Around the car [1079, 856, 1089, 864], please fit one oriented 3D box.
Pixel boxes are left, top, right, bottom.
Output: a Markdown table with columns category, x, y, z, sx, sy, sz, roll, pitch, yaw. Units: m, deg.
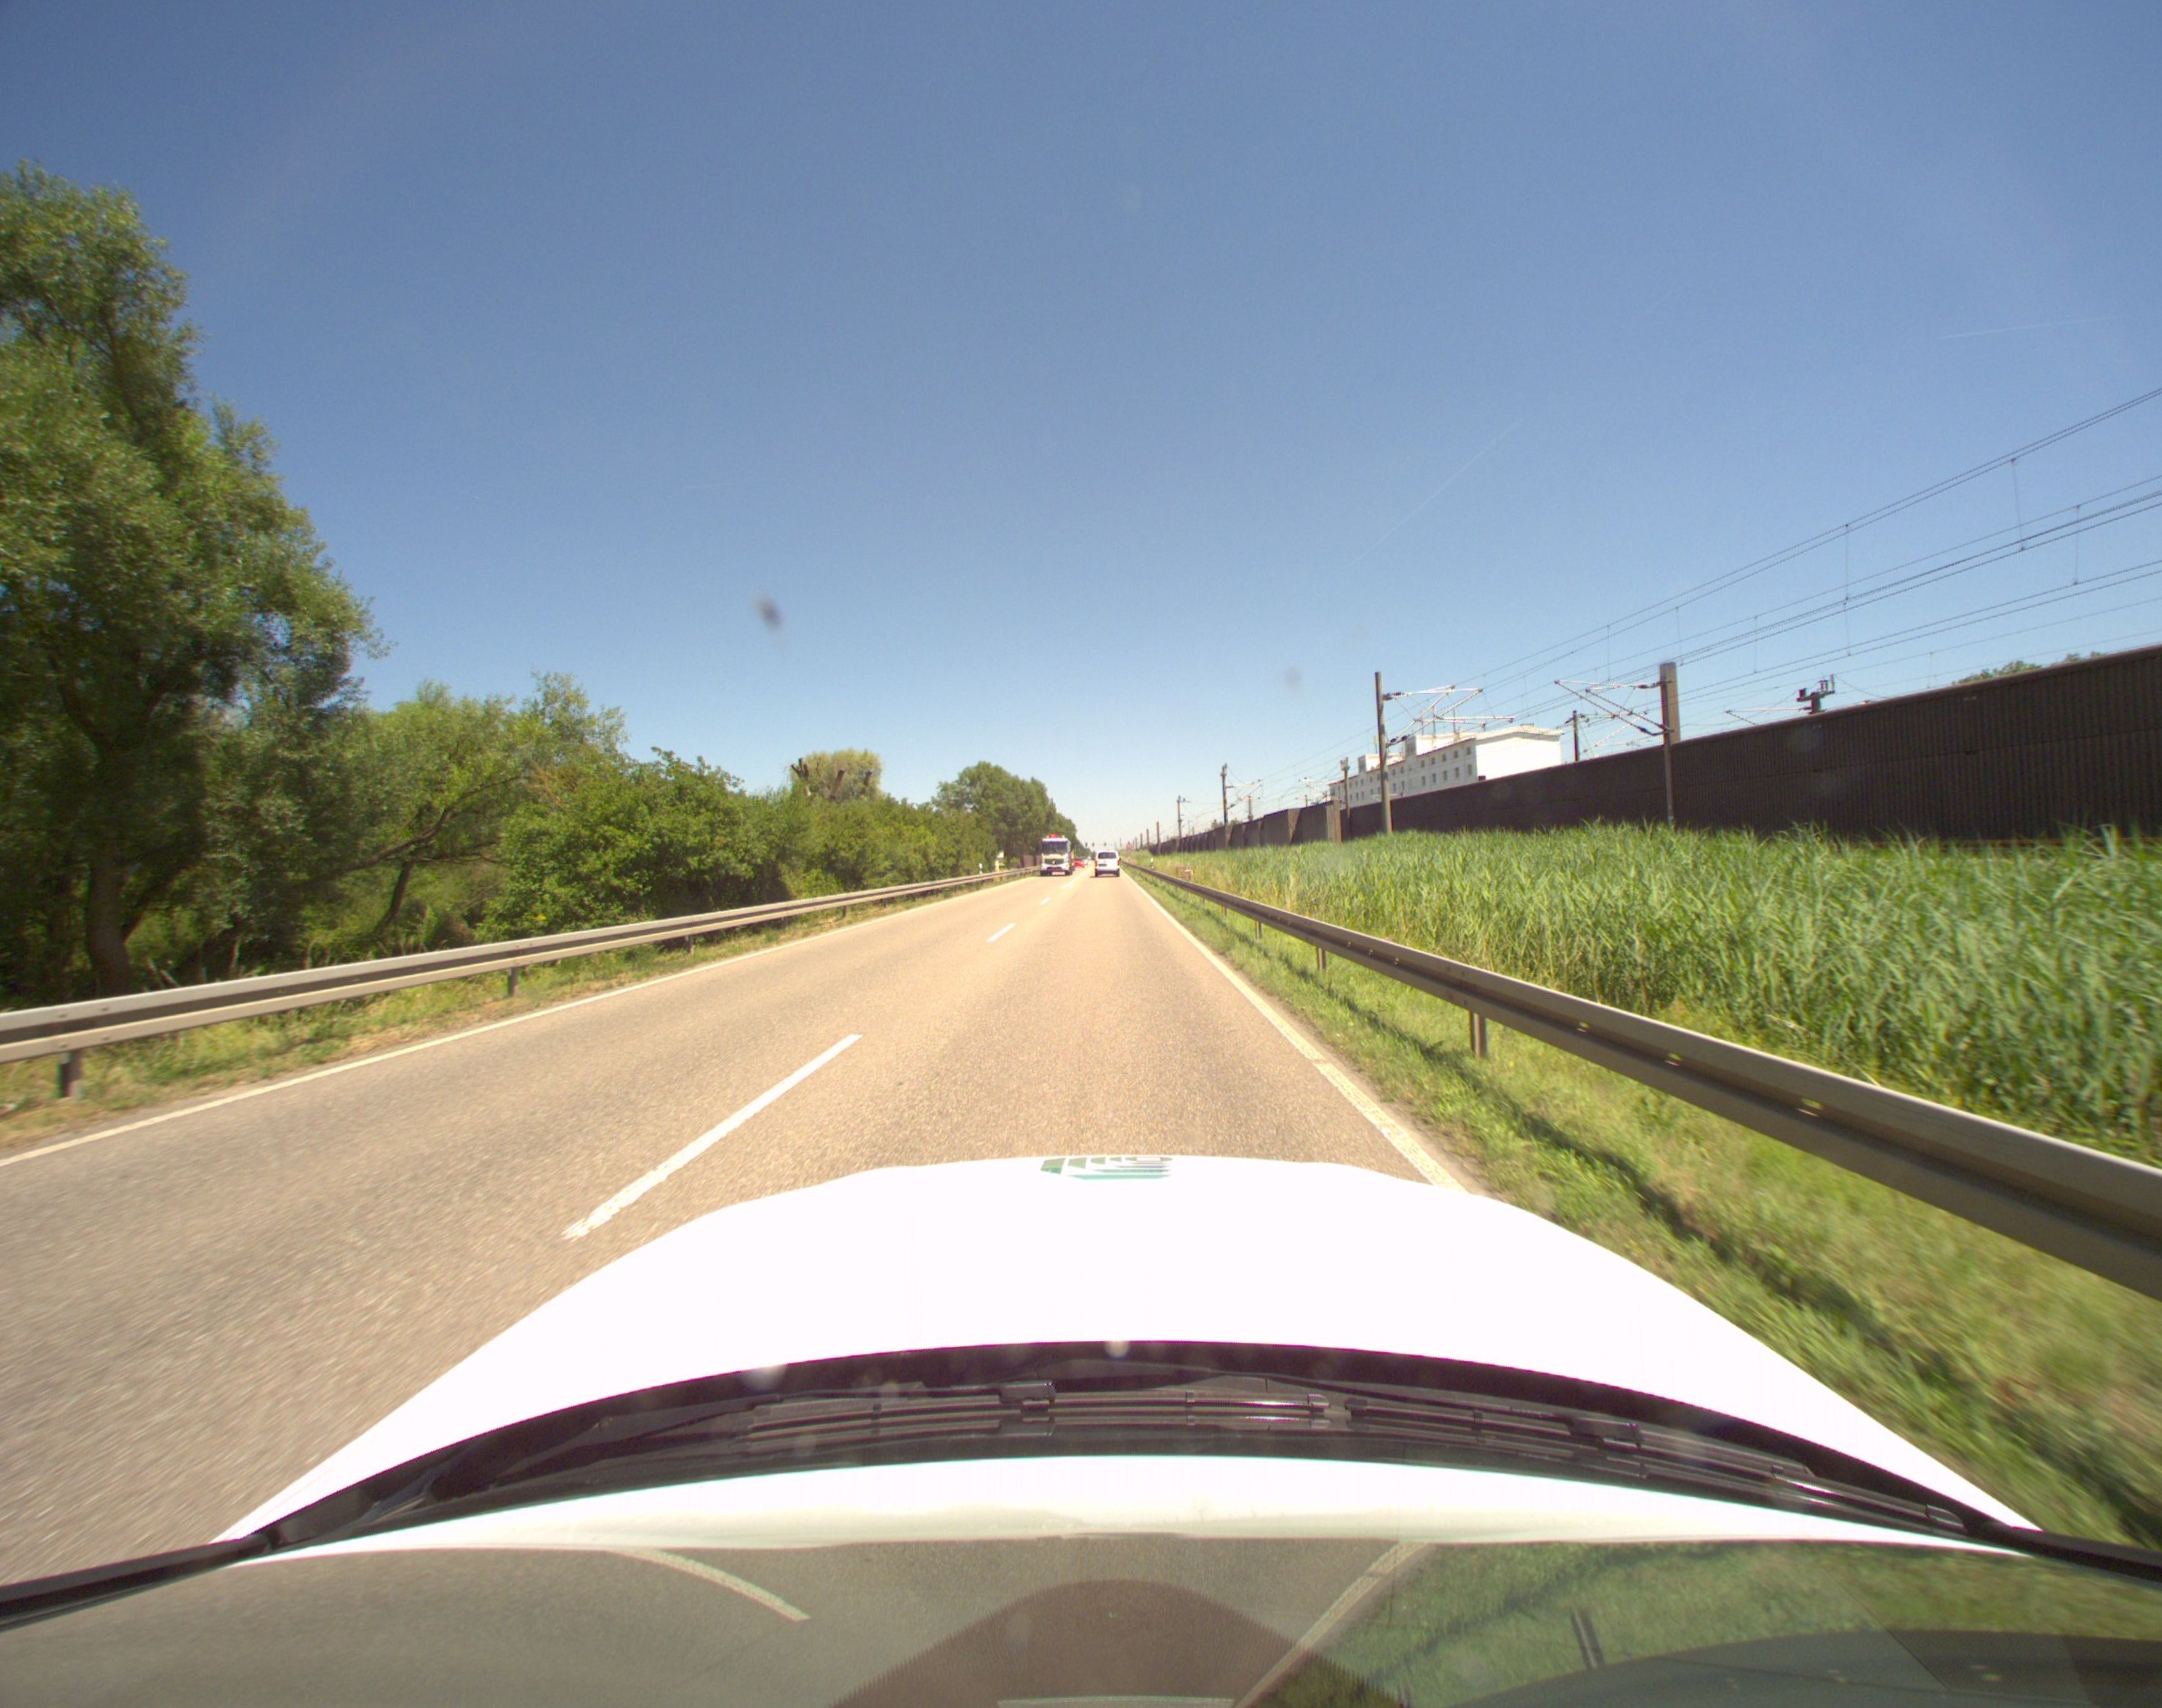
| category | x | y | z | sx | sy | sz | roll | pitch | yaw |
| --- | --- | --- | --- | --- | --- | --- | --- | --- | --- |
| car | 0.660 | 1.226 | 160.194 | 1.782 | 1.525 | 4.392 | -2 | 0 | 2 |

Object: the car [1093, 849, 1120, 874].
| category | x | y | z | sx | sy | sz | roll | pitch | yaw |
| --- | --- | --- | --- | --- | --- | --- | --- | --- | --- |
| car | 1.909 | 0.546 | 61.068 | 1.986 | 1.850 | 4.002 | -1 | 0 | 2 |

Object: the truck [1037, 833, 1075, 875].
| category | x | y | z | sx | sy | sz | roll | pitch | yaw |
| --- | --- | --- | --- | --- | --- | --- | --- | --- | --- |
| truck | -2.092 | -0.027 | 70.019 | 2.773 | 3.405 | 7.991 | -1 | 0 | 1 |

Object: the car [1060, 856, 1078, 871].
| category | x | y | z | sx | sy | sz | roll | pitch | yaw |
| --- | --- | --- | --- | --- | --- | --- | --- | --- | --- |
| car | -1.337 | 1.049 | 91.064 | 1.646 | 1.552 | 4.003 | -2 | 0 | 3 |

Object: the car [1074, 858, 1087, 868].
| category | x | y | z | sx | sy | sz | roll | pitch | yaw |
| --- | --- | --- | --- | --- | --- | --- | --- | --- | --- |
| car | -0.029 | 1.273 | 118.443 | 1.784 | 1.421 | 3.999 | -2 | 0 | 0 |
